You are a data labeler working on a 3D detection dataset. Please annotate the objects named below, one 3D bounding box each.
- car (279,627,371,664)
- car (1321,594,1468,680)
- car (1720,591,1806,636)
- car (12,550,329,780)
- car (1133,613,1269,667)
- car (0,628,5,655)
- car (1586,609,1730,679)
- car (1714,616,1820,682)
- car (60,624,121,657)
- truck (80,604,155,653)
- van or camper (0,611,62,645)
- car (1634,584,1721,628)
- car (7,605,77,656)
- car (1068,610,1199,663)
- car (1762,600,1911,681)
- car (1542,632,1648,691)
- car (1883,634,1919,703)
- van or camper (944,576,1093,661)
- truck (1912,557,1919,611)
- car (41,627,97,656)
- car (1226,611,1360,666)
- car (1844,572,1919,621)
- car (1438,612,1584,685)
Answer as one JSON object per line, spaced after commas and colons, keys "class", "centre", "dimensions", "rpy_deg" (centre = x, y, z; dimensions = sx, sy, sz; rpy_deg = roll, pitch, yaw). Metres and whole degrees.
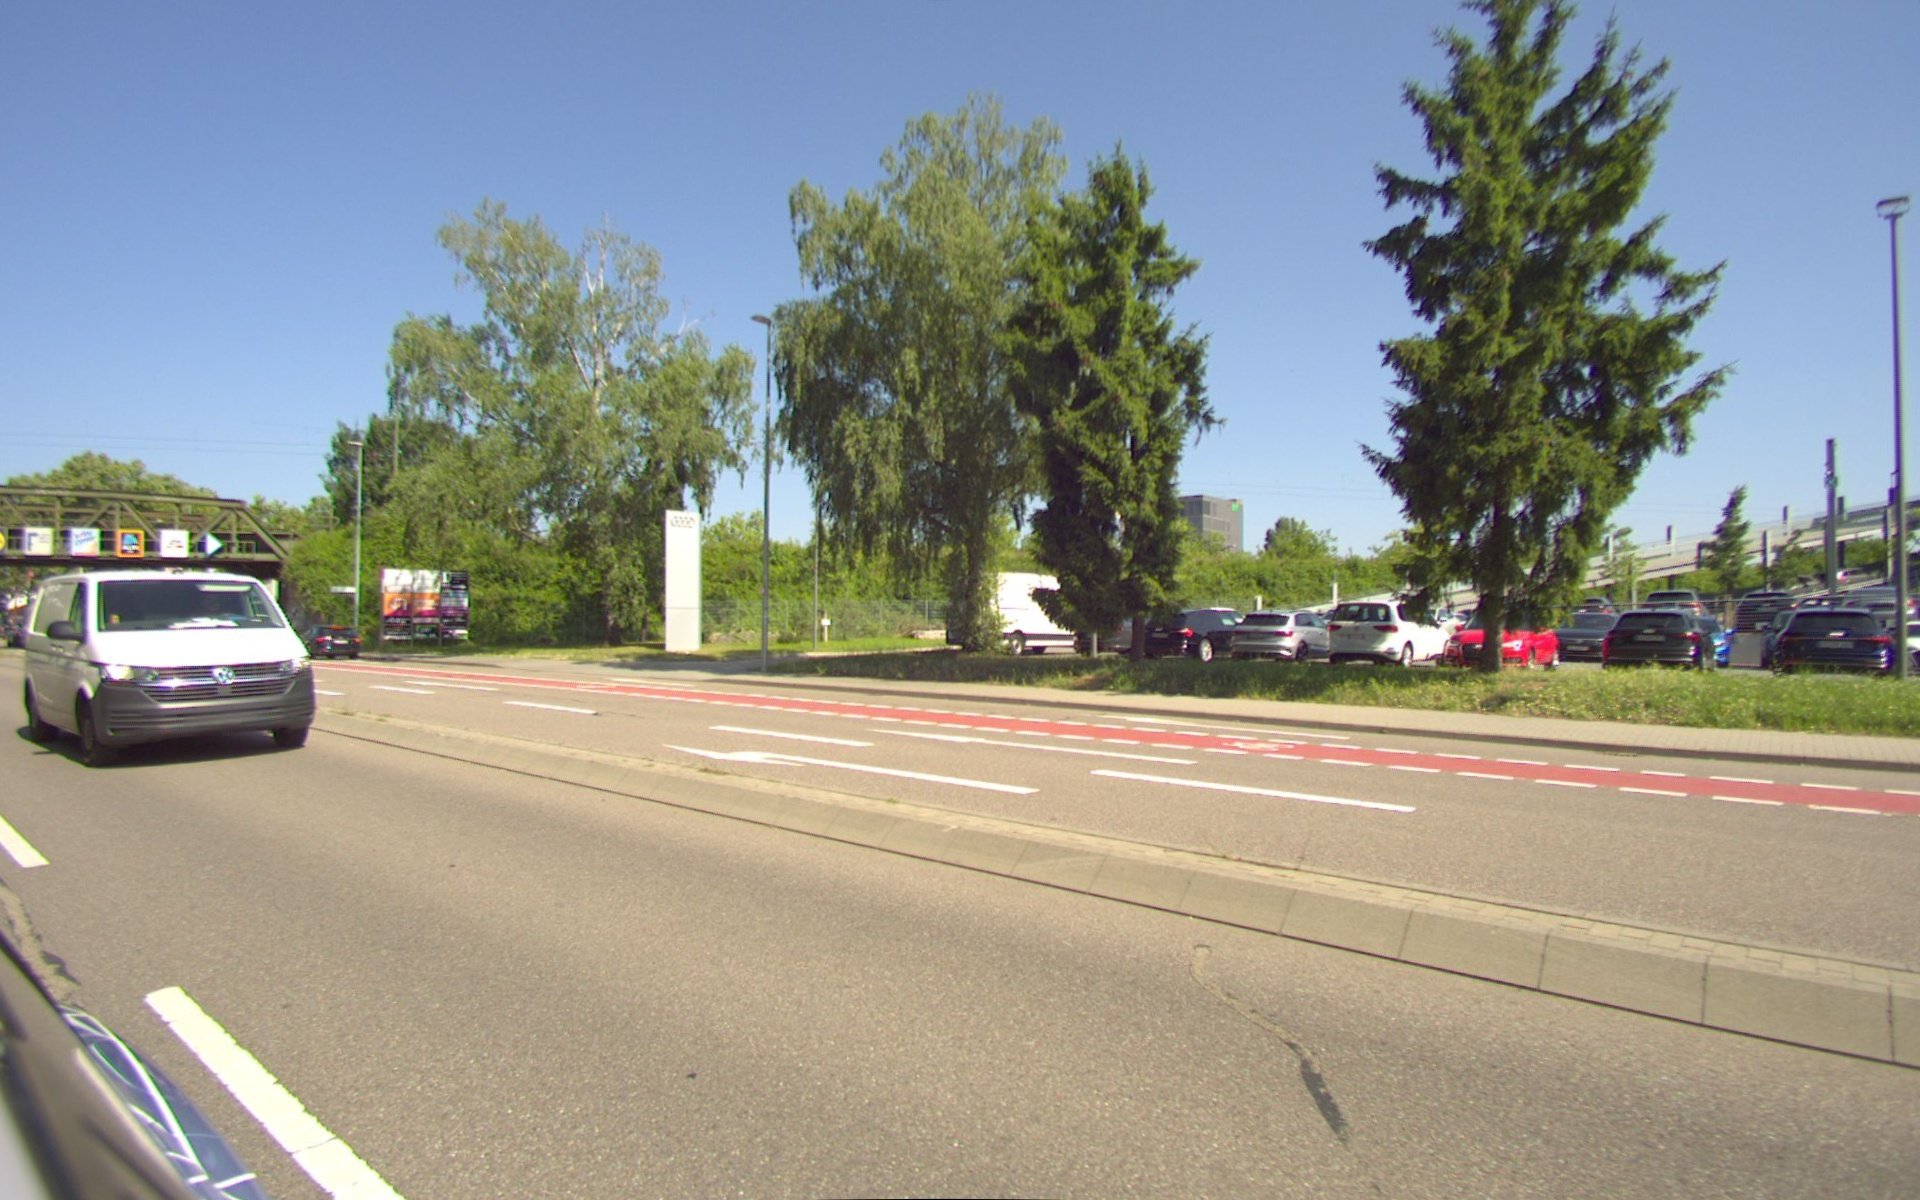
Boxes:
{"class": "car", "centre": [-26.568, 1.860, 42.287], "dimensions": [4.679, 1.424, 1.973], "rpy_deg": [-1, -2, 41]}
{"class": "car", "centre": [10.532, 0.873, 24.413], "dimensions": [1.954, 1.899, 4.219], "rpy_deg": [-2, -2, 43]}
{"class": "car", "centre": [26.062, 0.462, 32.805], "dimensions": [1.953, 1.361, 4.221], "rpy_deg": [-1, -2, 41]}
{"class": "car", "centre": [-8.903, 0.644, 11.227], "dimensions": [4.972, 2.009, 1.862], "rpy_deg": [-2, -2, 41]}
{"class": "car", "centre": [6.689, 1.076, 27.883], "dimensions": [4.039, 1.364, 1.745], "rpy_deg": [2, -2, -44]}
{"class": "car", "centre": [-64.428, 2.722, 66.545], "dimensions": [4.948, 1.694, 1.972], "rpy_deg": [-2, -2, 42]}
{"class": "car", "centre": [15.038, 0.908, 21.728], "dimensions": [1.954, 1.338, 4.219], "rpy_deg": [-2, -2, 43]}
{"class": "car", "centre": [22.210, 1.302, 27.808], "dimensions": [1.954, 1.655, 4.219], "rpy_deg": [-2, -2, 43]}
{"class": "car", "centre": [-42.469, 2.014, 49.411], "dimensions": [3.825, 1.506, 1.626], "rpy_deg": [-3, -5, 40]}
{"class": "truck", "centre": [-55.621, 1.893, 66.769], "dimensions": [7.059, 3.112, 2.319], "rpy_deg": [-1, -2, 38]}
{"class": "van or camper", "centre": [-94.771, 2.841, 102.175], "dimensions": [2.595, 3.179, 5.712], "rpy_deg": [-3, -1, 36]}
{"class": "car", "centre": [24.245, 0.250, 34.122], "dimensions": [1.953, 1.361, 4.221], "rpy_deg": [-1, -2, 41]}
{"class": "car", "centre": [-54.298, 1.819, 59.793], "dimensions": [6.931, 2.827, 1.973], "rpy_deg": [-2, -4, 40]}
{"class": "car", "centre": [5.124, 1.061, 29.644], "dimensions": [4.039, 1.449, 1.745], "rpy_deg": [2, -2, -44]}
{"class": "car", "centre": [16.883, 0.751, 19.455], "dimensions": [1.954, 1.392, 4.219], "rpy_deg": [-2, -2, 43]}
{"class": "car", "centre": [19.211, 1.790, 30.548], "dimensions": [1.954, 1.655, 4.219], "rpy_deg": [-2, -2, 43]}
{"class": "car", "centre": [25.021, 1.705, 25.949], "dimensions": [1.954, 1.655, 4.219], "rpy_deg": [-2, -2, 43]}
{"class": "van or camper", "centre": [1.989, 0.548, 32.469], "dimensions": [1.997, 2.489, 5.326], "rpy_deg": [-3, -1, 38]}
{"class": "truck", "centre": [57.061, -0.884, 55.633], "dimensions": [8.321, 2.939, 2.673], "rpy_deg": [1, -2, -13]}
{"class": "car", "centre": [-48.540, 2.300, 55.116], "dimensions": [4.175, 1.506, 1.750], "rpy_deg": [-3, -5, 41]}
{"class": "car", "centre": [8.583, 0.971, 25.928], "dimensions": [1.744, 1.303, 4.042], "rpy_deg": [-2, -2, 43]}
{"class": "car", "centre": [28.210, -0.055, 30.768], "dimensions": [1.953, 1.361, 4.221], "rpy_deg": [-1, -2, 41]}
{"class": "car", "centre": [12.735, 1.067, 23.277], "dimensions": [1.954, 1.515, 4.219], "rpy_deg": [-2, -2, 43]}
